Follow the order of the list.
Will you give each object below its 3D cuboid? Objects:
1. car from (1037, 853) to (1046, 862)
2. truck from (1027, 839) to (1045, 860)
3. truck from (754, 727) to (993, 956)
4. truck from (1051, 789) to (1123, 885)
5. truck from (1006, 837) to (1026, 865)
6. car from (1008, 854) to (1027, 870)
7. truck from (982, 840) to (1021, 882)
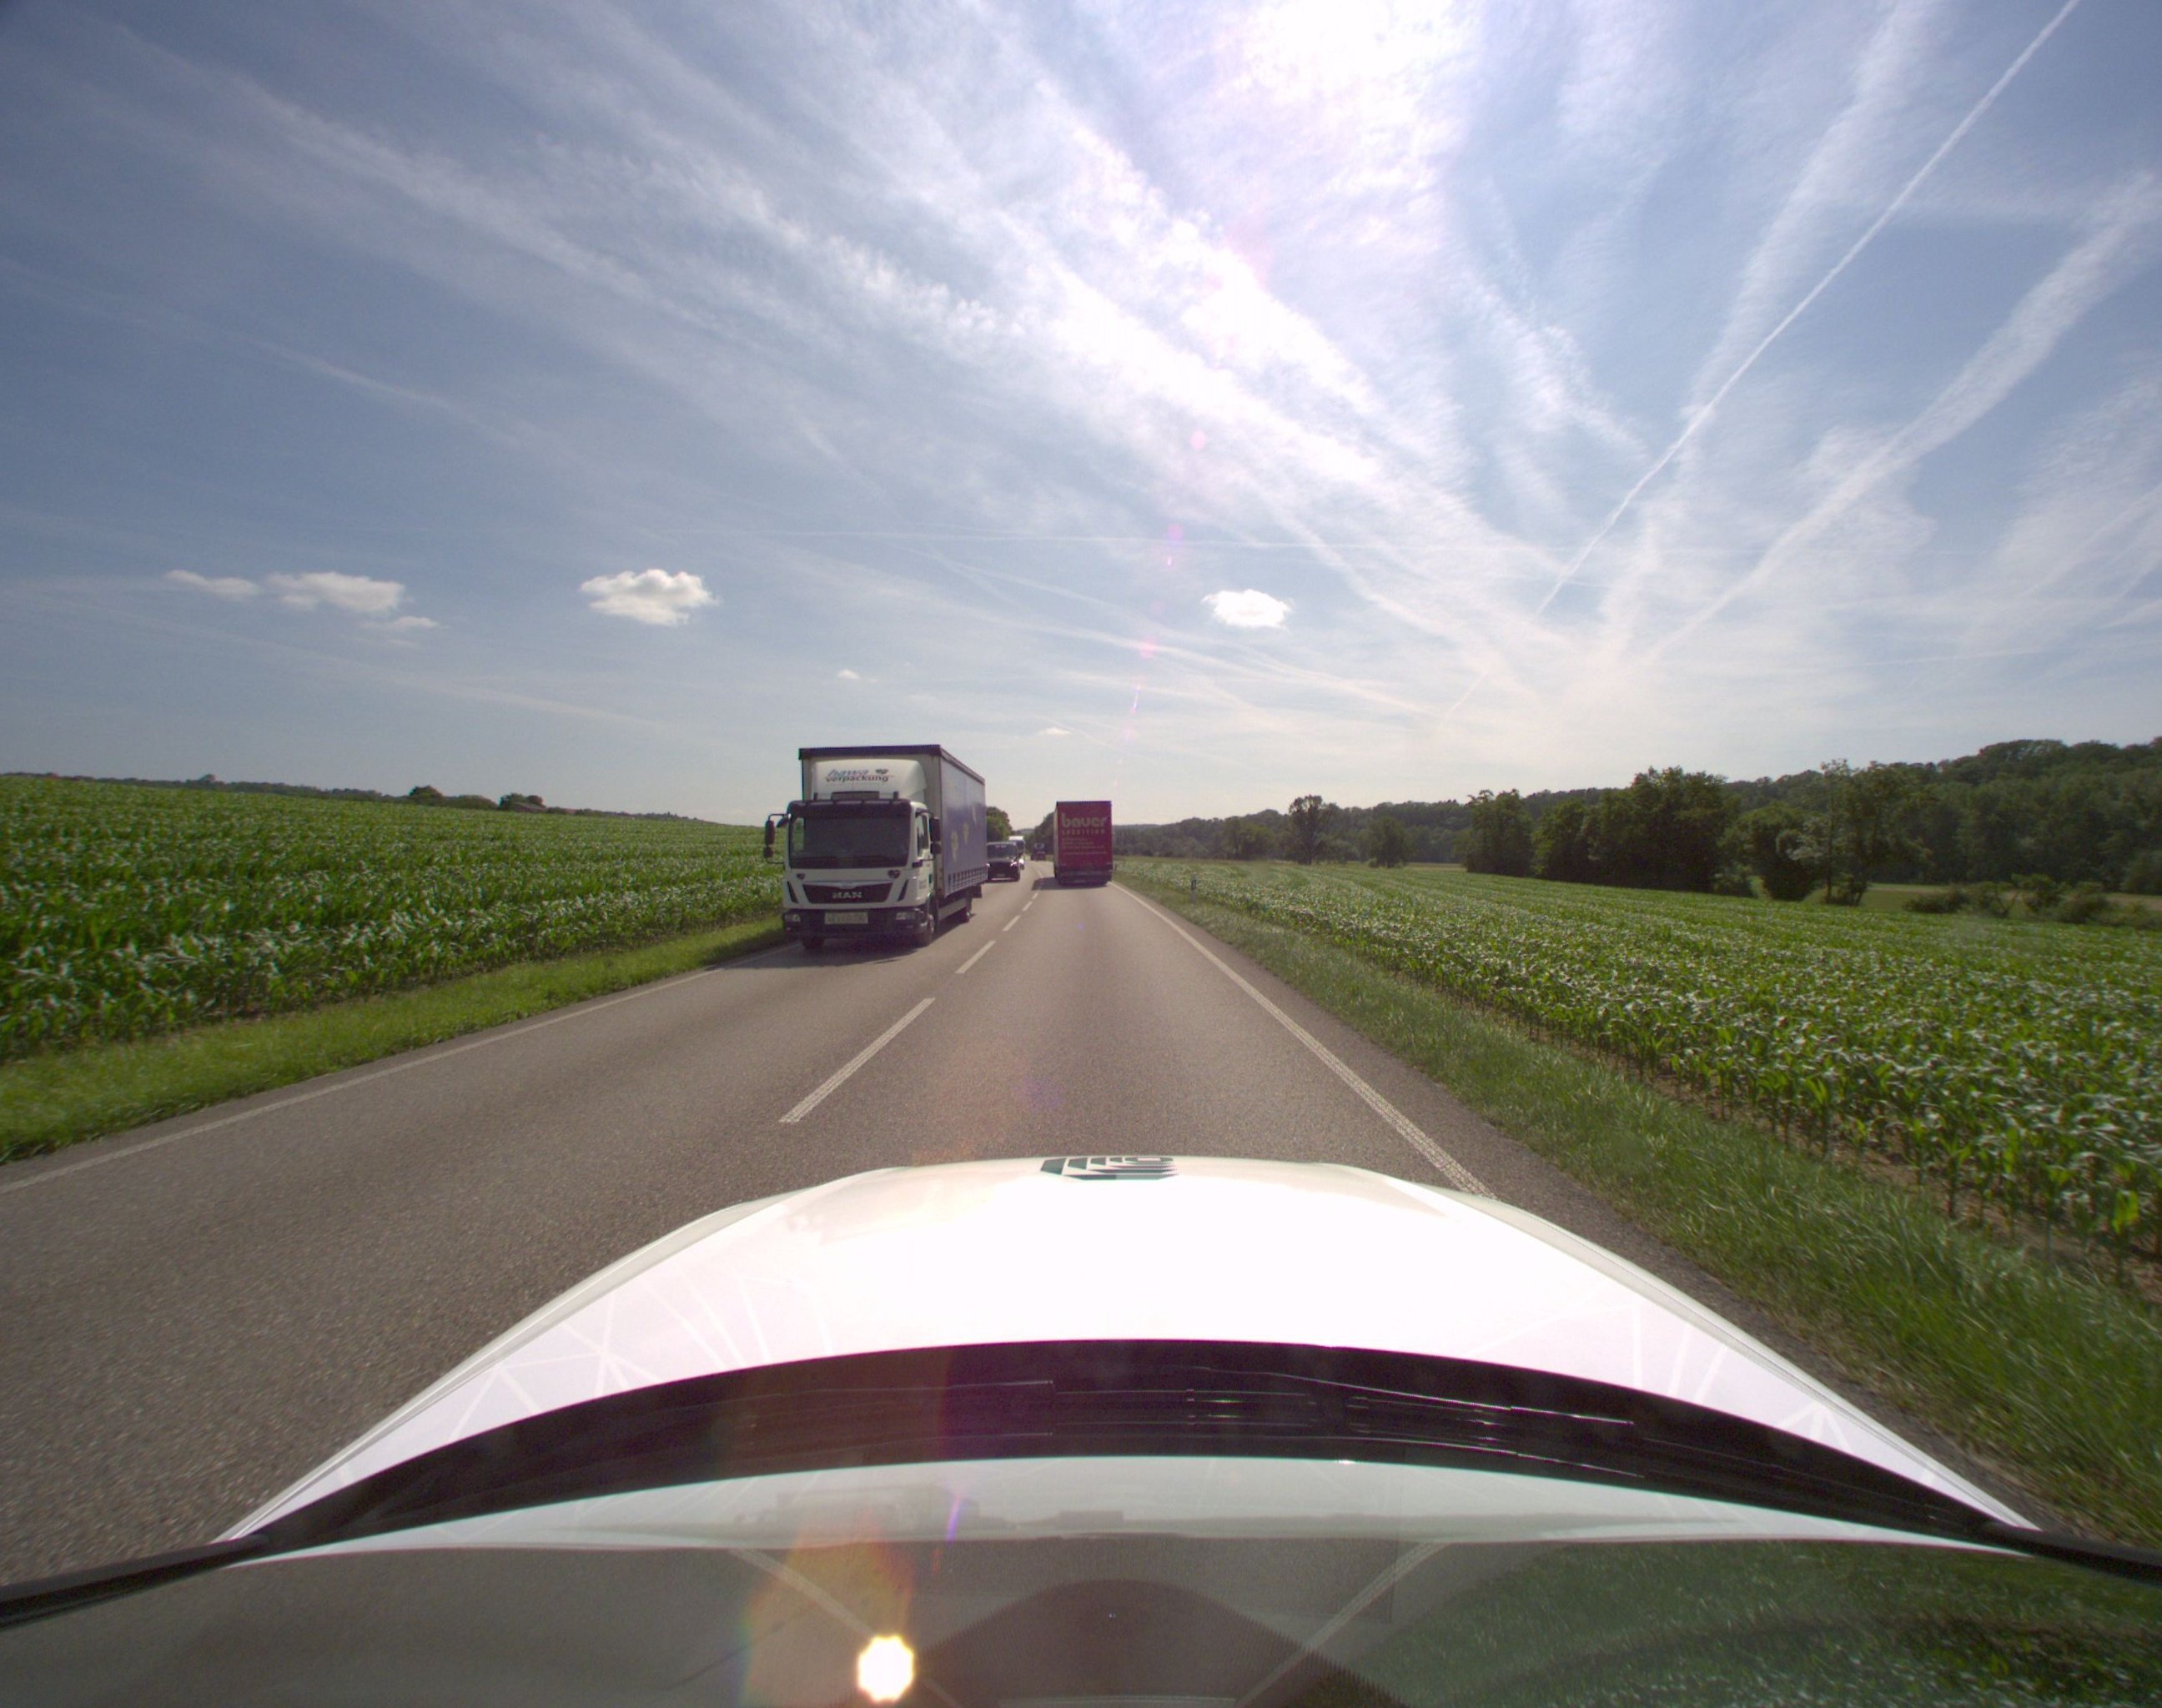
[{"bbox_3d":[-7.241,0.599,147.894,1.578,1.501,3.871,-1,0,-4],"label":"car"},{"bbox_3d":[-9.568,-0.927,174.949,3.631,4.292,11.973,-1,-1,-3],"label":"truck"},{"bbox_3d":[-3.815,-0.206,17.785,2.733,3.578,9.724,-1,0,0],"label":"truck"},{"bbox_3d":[0.113,-0.721,40.920,3.087,4.263,8.304,-1,-1,-3],"label":"truck"},{"bbox_3d":[-9.985,-0.469,126.462,2.821,3.992,16.508,-2,0,-4],"label":"truck"},{"bbox_3d":[-6.342,0.763,81.306,1.724,1.440,4.172,-2,0,-3],"label":"car"},{"bbox_3d":[-4.654,0.404,48.477,2.005,2.320,5.186,-1,0,-3],"label":"truck"}]
